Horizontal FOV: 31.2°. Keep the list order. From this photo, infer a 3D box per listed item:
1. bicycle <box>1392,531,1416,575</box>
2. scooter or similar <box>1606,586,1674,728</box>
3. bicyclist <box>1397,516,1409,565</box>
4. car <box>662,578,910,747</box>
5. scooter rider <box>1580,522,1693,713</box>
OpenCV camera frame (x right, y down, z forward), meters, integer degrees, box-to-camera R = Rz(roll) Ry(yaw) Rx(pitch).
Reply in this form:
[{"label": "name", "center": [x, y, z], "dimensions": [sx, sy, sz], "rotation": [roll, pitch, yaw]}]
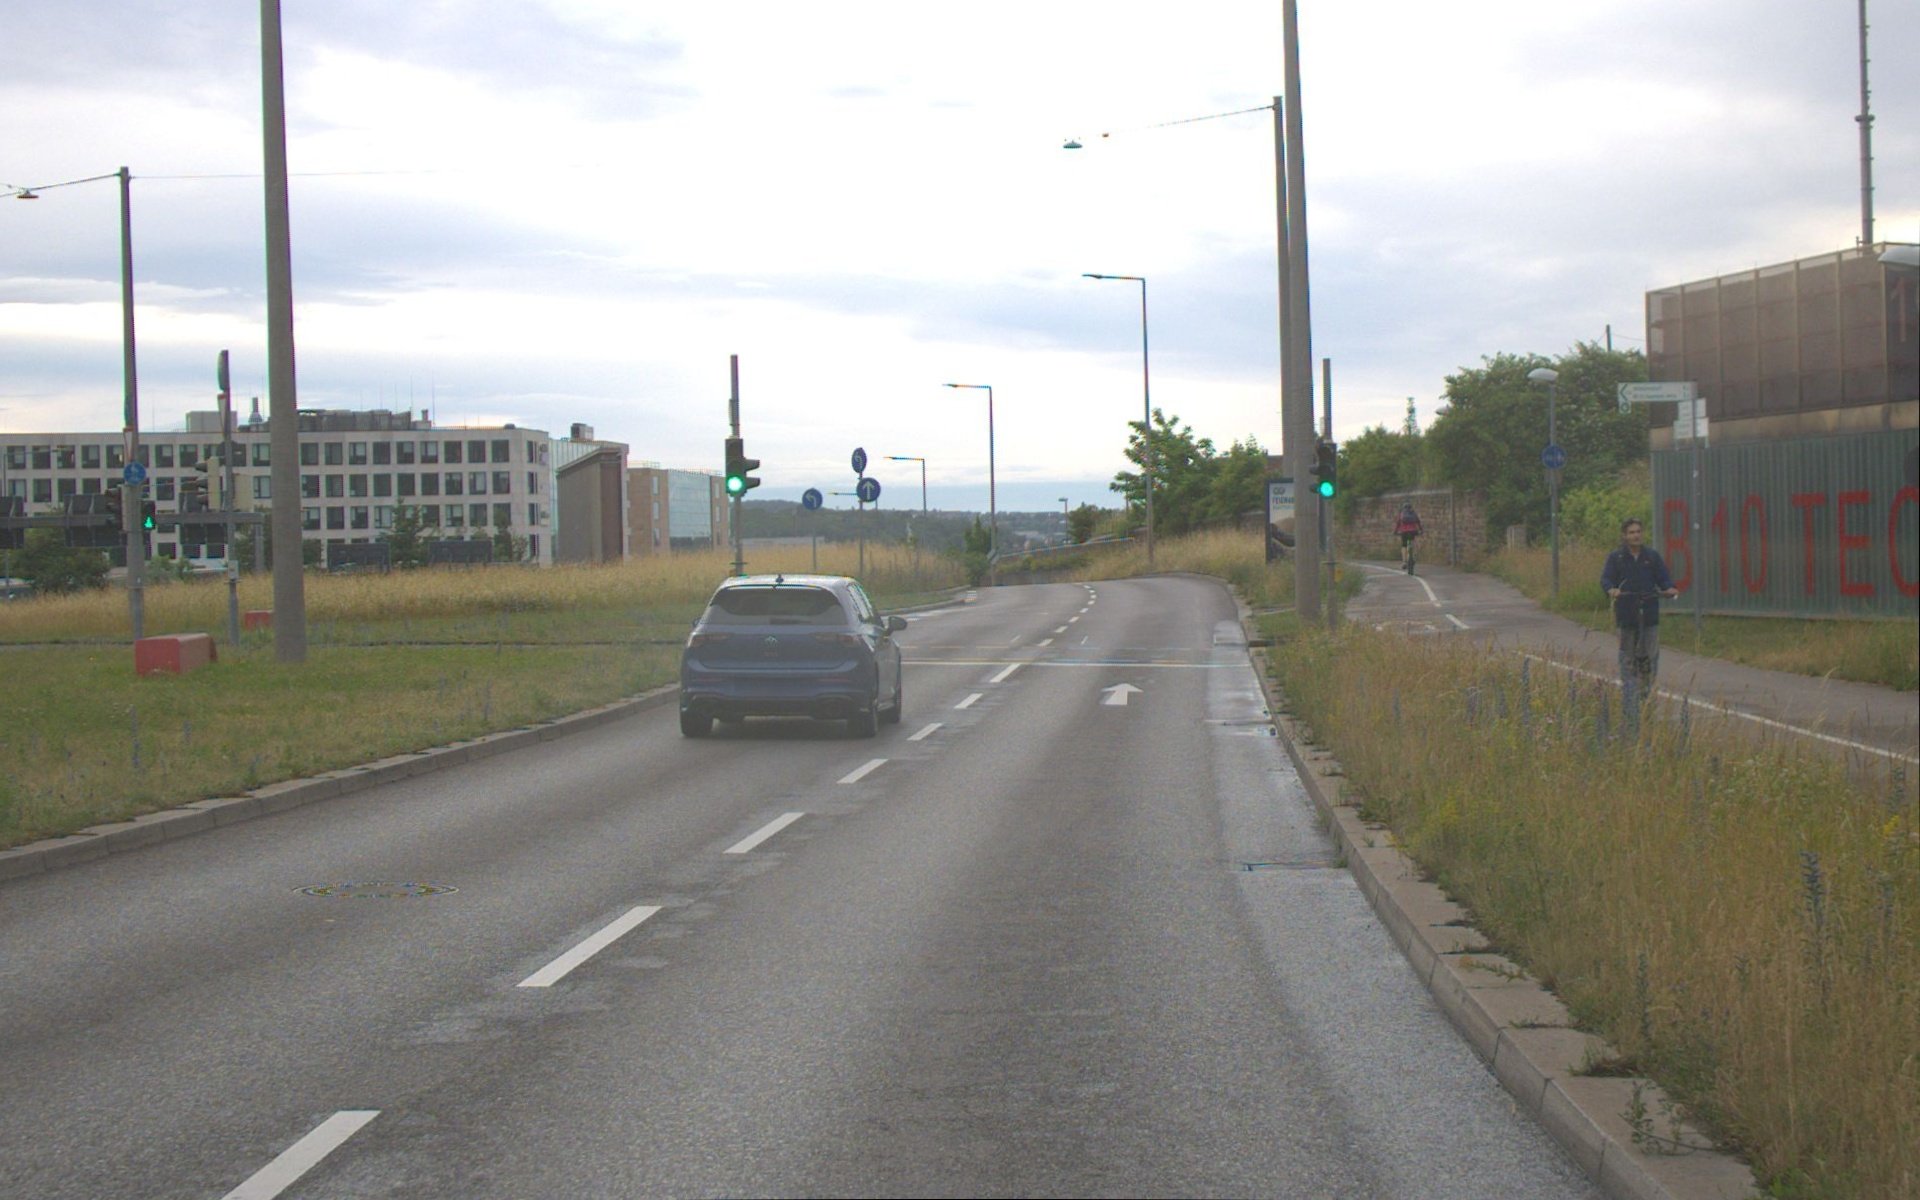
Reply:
[{"label": "bicycle", "center": [10.822, -1.136, 83.756], "dimensions": [0.551, 1.064, 0.615], "rotation": [0, 1, 6]}, {"label": "scooter or similar", "center": [5.924, 0.488, 29.980], "dimensions": [0.401, 1.192, 1.114], "rotation": [1, 1, 3]}, {"label": "bicyclist", "center": [10.796, -1.445, 83.792], "dimensions": [0.265, 1.192, 0.315], "rotation": [0, 1, 6]}, {"label": "car", "center": [-1.550, 0.531, 31.990], "dimensions": [1.838, 1.389, 4.000], "rotation": [0, 1, 4]}, {"label": "scooter rider", "center": [5.924, 0.145, 30.132], "dimensions": [0.806, 1.623, 0.828], "rotation": [-2, 0, 3]}]
